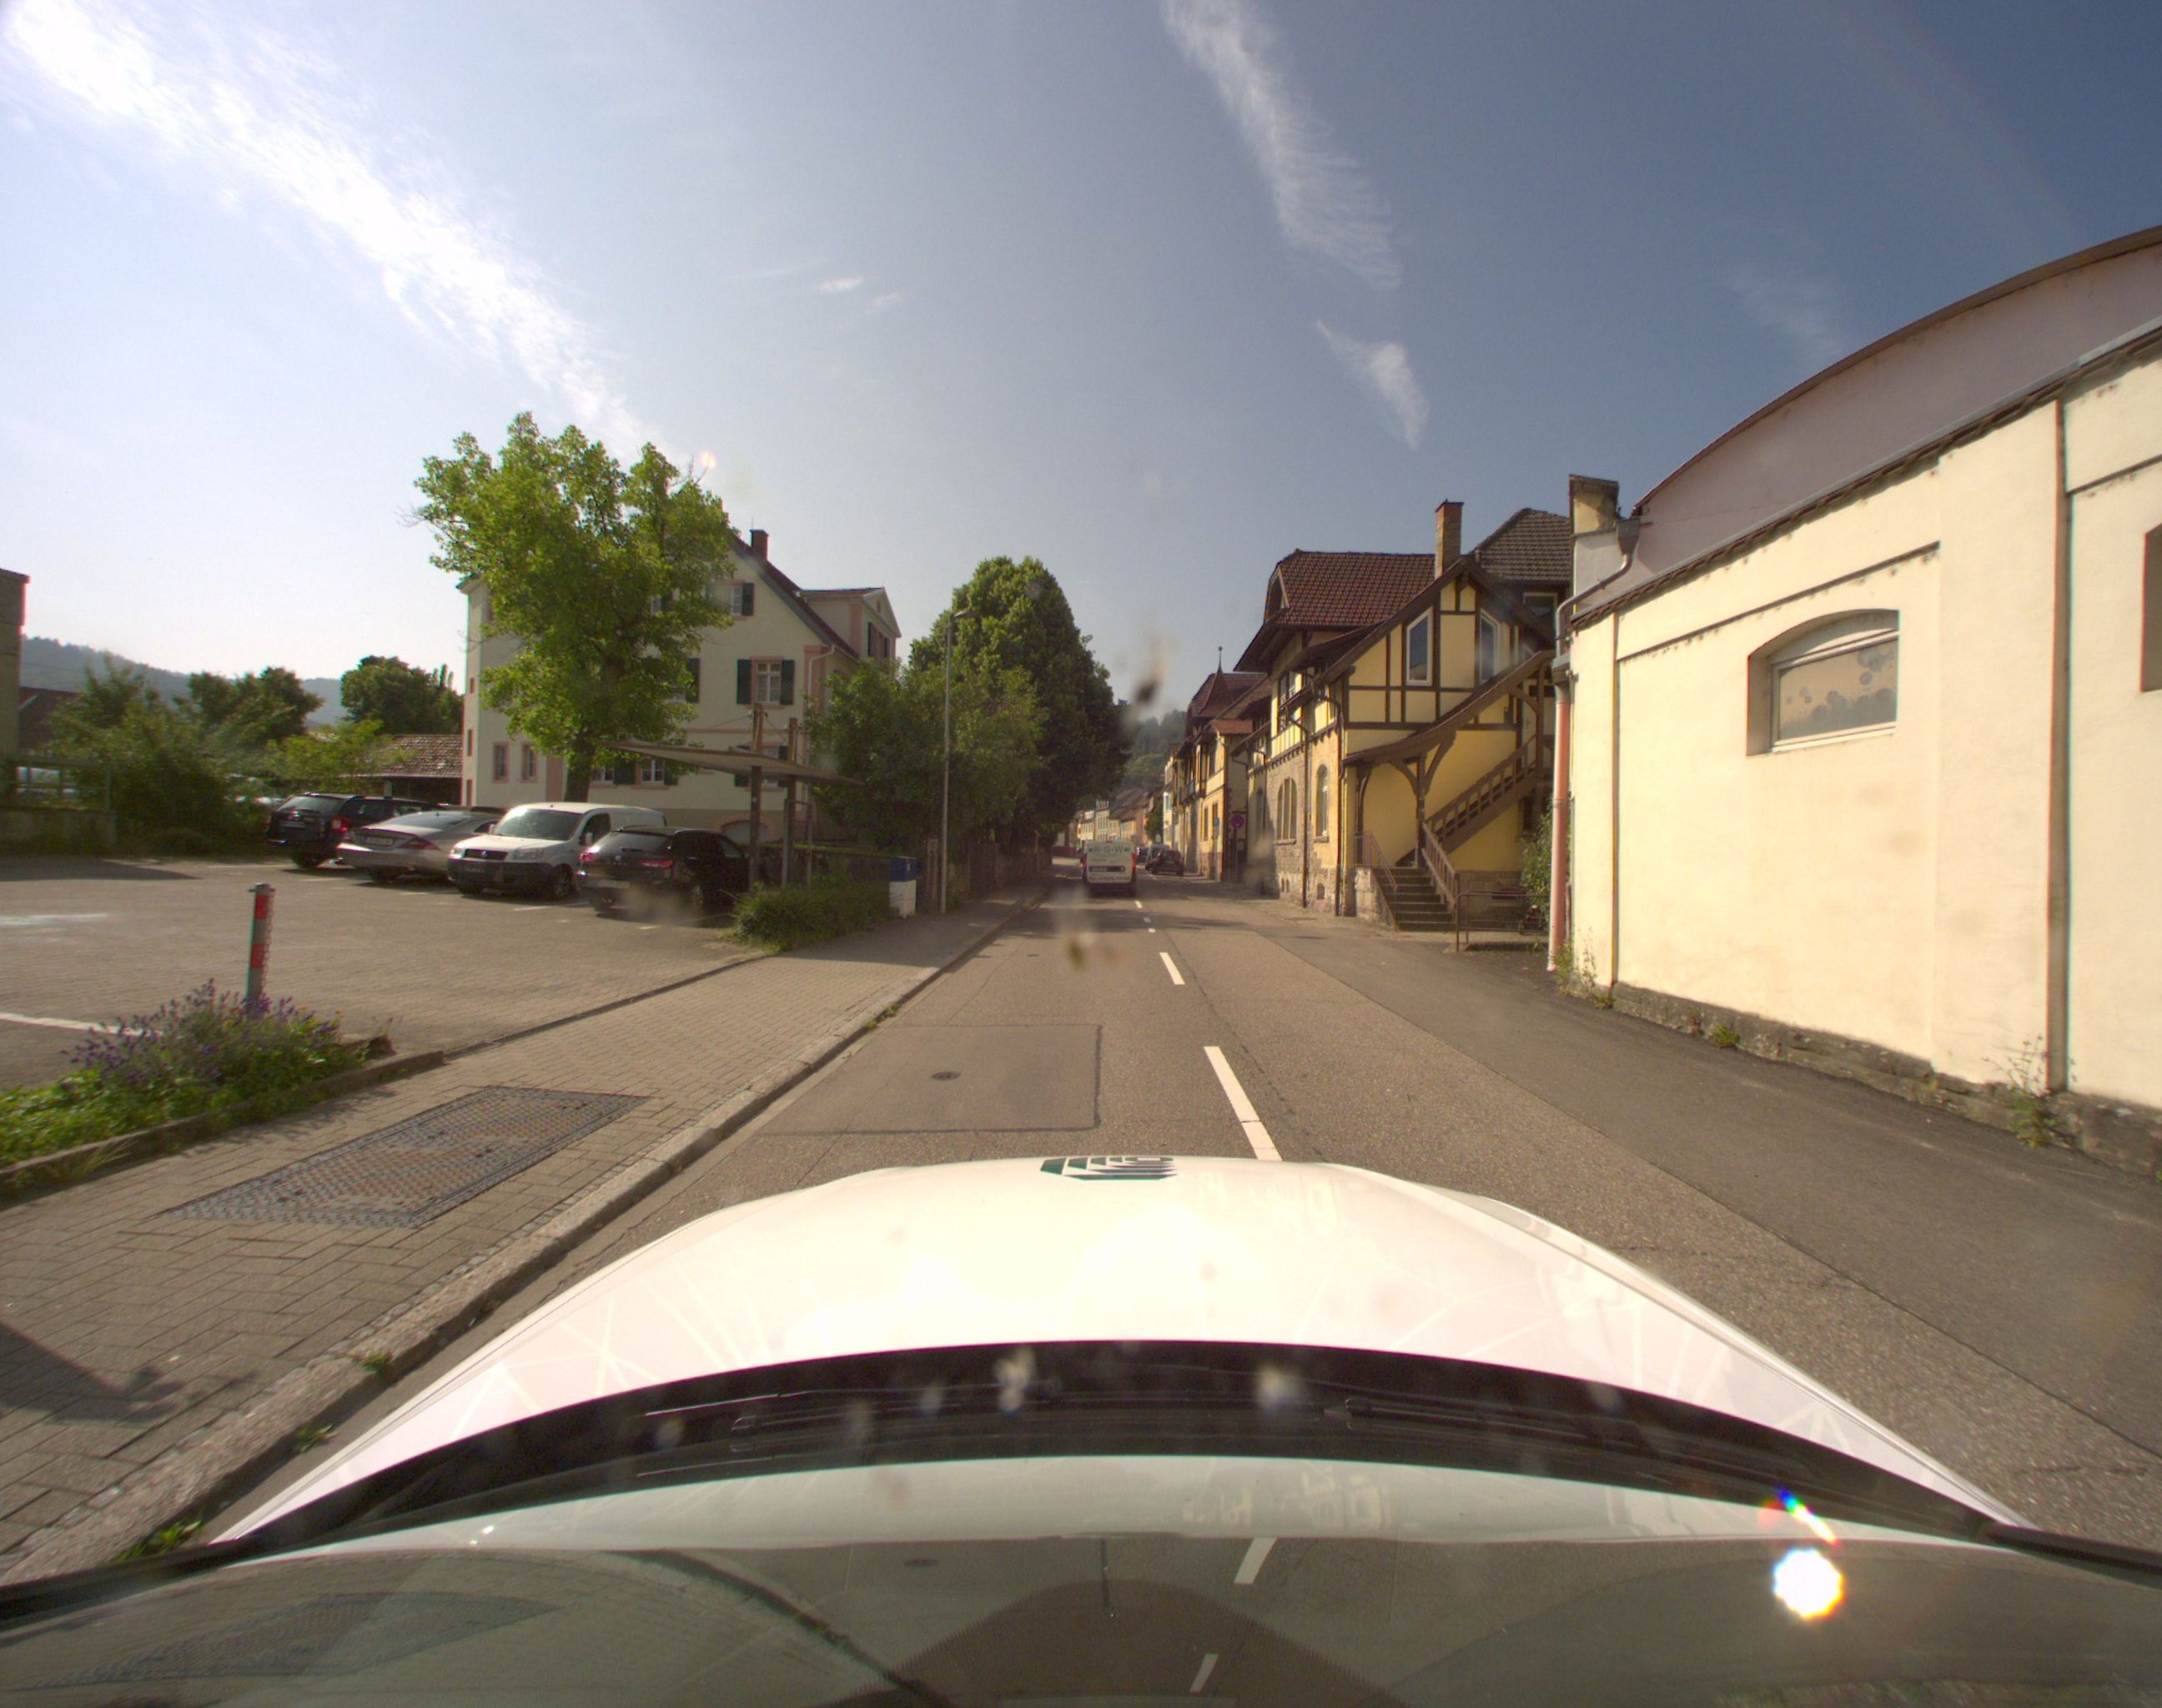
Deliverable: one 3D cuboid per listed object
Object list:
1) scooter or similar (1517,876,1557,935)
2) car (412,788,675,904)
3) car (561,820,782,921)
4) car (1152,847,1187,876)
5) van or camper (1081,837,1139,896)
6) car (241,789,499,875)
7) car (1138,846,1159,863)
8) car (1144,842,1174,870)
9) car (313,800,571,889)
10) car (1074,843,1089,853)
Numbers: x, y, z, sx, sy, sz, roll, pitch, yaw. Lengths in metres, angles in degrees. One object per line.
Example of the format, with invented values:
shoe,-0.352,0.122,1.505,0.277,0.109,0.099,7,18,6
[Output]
scooter or similar,8.763,0.967,15.631,0.614,1.064,1.017,0,0,32
car,-9.988,-0.152,15.700,1.817,1.772,4.682,4,0,0
car,-7.134,0.221,14.774,1.609,1.461,4.396,3,1,2
car,5.432,0.412,50.449,1.803,1.596,3.929,3,1,2
van or camper,0.942,0.388,27.706,1.822,1.844,4.189,0,0,1
car,-14.901,-0.451,17.425,1.800,1.505,4.003,4,1,2
car,6.328,0.053,77.071,1.664,1.508,4.000,0,0,0
car,5.767,0.130,60.556,1.864,2.013,4.001,2,0,1
car,-12.372,-0.196,16.162,1.808,1.422,4.002,4,1,2
car,0.058,-1.139,157.757,1.994,1.782,3.986,3,1,-11
